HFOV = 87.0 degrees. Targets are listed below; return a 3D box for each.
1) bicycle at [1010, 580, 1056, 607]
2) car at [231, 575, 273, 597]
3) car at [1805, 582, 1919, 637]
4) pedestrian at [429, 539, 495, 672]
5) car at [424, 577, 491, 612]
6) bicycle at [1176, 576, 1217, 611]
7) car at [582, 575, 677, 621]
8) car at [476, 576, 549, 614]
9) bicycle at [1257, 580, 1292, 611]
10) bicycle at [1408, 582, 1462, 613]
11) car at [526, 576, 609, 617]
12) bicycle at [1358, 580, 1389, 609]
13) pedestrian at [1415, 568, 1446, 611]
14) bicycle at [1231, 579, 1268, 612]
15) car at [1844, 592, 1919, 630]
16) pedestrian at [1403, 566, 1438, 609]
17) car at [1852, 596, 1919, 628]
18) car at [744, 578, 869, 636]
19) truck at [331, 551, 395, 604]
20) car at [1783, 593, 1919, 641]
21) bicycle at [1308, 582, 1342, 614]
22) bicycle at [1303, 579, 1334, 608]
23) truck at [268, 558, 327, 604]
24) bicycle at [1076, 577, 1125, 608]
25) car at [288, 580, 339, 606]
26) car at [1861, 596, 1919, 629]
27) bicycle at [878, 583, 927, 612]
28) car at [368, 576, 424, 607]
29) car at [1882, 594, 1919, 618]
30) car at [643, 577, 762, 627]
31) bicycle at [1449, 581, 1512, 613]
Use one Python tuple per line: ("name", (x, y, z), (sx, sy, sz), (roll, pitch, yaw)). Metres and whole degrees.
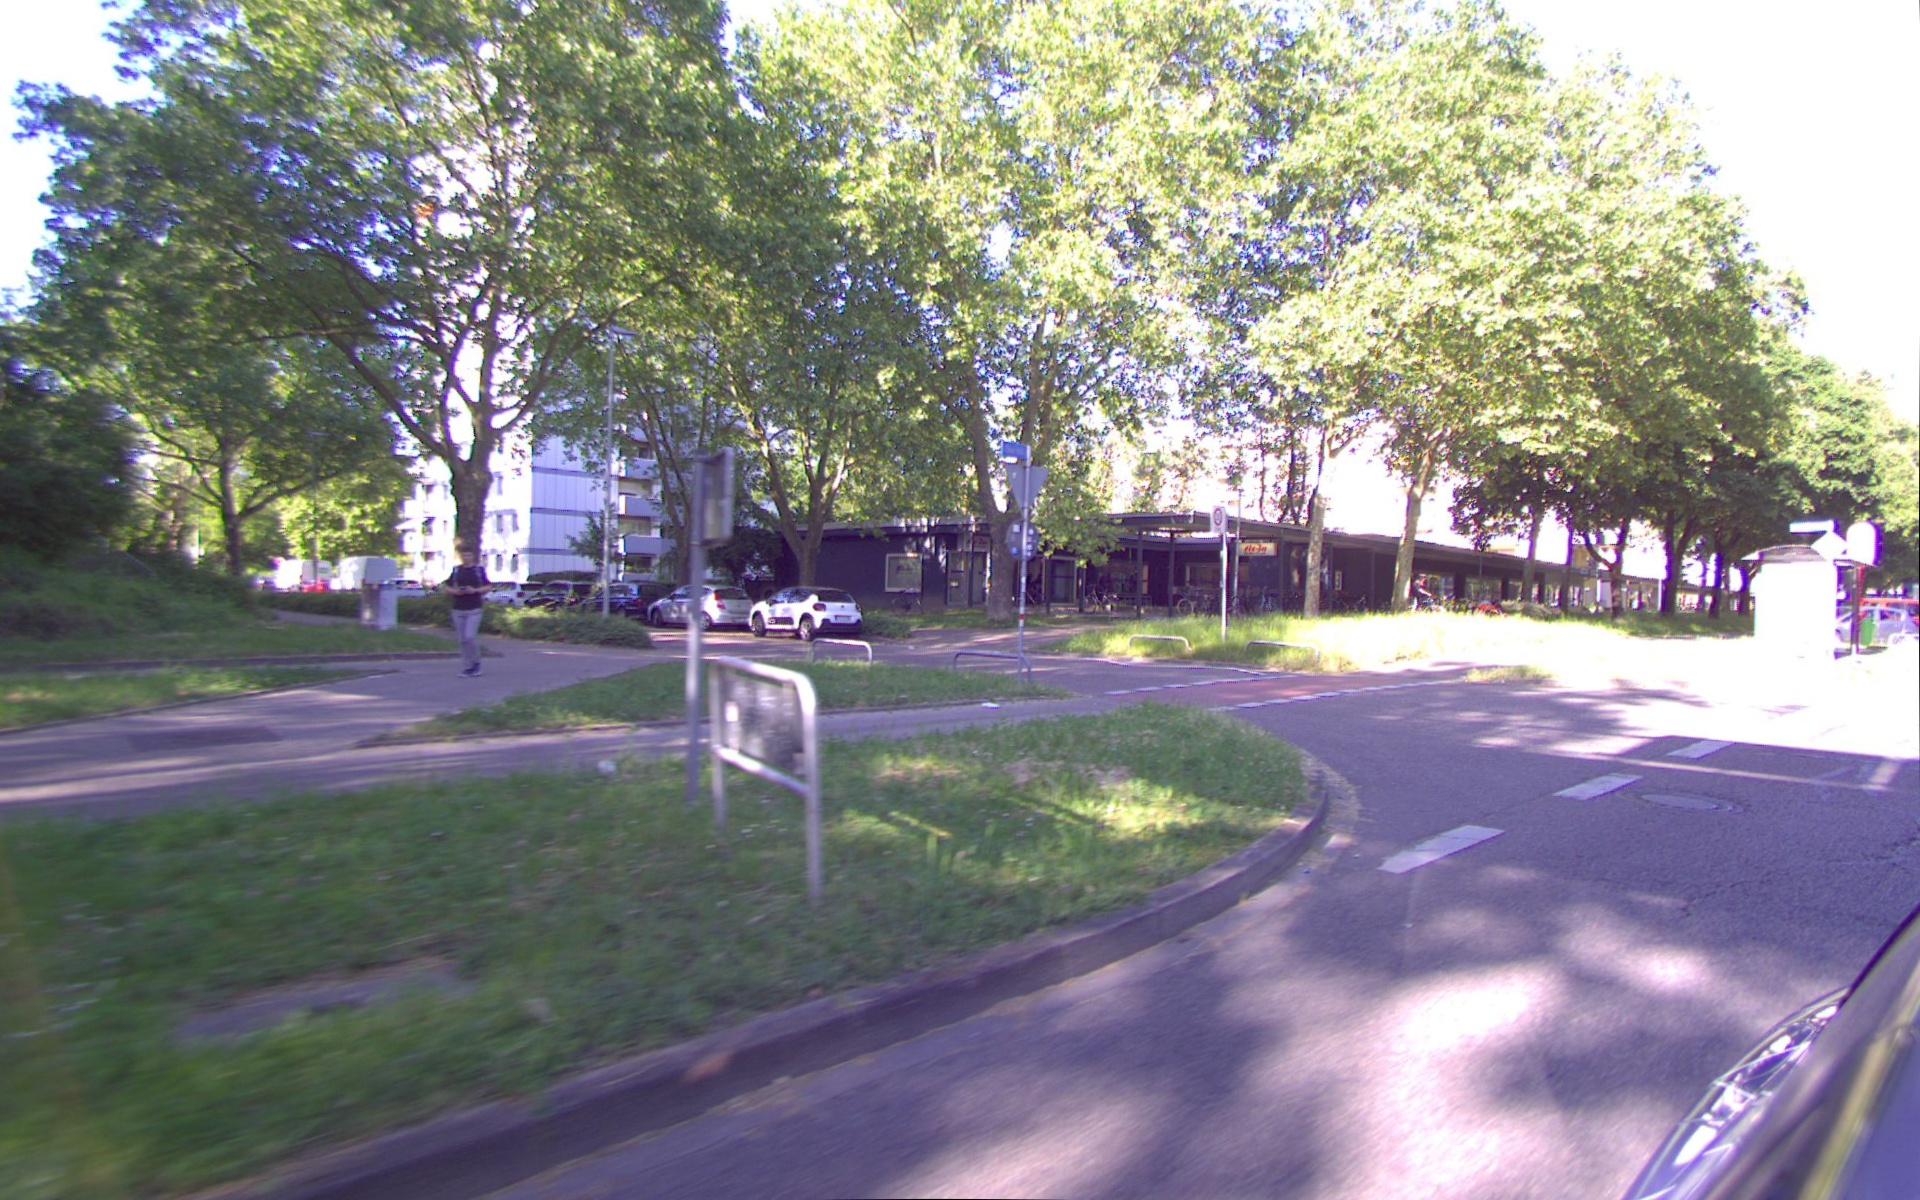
("bicycle", (2.990, -0.275, 41.359), (1.800, 0.966, 0.700), (5, 3, 42))
("car", (-52.876, -1.059, 75.553), (3.574, 1.515, 1.644), (1, -2, 40))
("car", (34.377, 0.361, 37.852), (3.880, 1.865, 1.768), (2, 2, 4))
("pedestrian", (-6.947, 0.081, 14.136), (0.724, 1.800, 0.661), (2, -1, -23))
("car", (-23.642, -0.273, 47.563), (3.578, 1.515, 1.642), (1, -2, 43))
("bicycle", (8.820, -0.234, 37.724), (1.776, 1.269, 0.576), (0, 0, -43))
("car", (-11.722, -0.062, 35.843), (3.576, 1.515, 1.599), (1, -2, 42))
("car", (-19.223, -0.214, 43.429), (3.579, 1.515, 1.559), (1, -2, 44))
("bicycle", (13.032, -0.192, 41.970), (1.776, 1.269, 0.576), (0, 0, -43))
("bicycle", (19.392, -0.132, 41.343), (0.550, 1.172, 2.077), (1, 2, -27))
("car", (-15.444, -0.142, 39.760), (3.577, 1.515, 1.602), (1, -2, 42))
("bicycle", (18.584, -0.237, 45.474), (1.776, 1.269, 0.576), (0, 0, -43))
("pedestrian", (20.543, -0.460, 44.174), (0.963, 1.863, 0.939), (2, 1, 40))
("bicycle", (11.591, -0.177, 40.519), (1.776, 1.269, 0.576), (0, 0, -43))
("car", (43.676, 0.522, 46.986), (3.653, 1.610, 1.700), (2, 2, 1))
("pedestrian", (18.823, -0.519, 41.404), (1.126, 1.729, 0.722), (2, 1, 40))
("car", (46.424, 0.640, 49.465), (4.011, 1.420, 1.687), (2, 2, 1))
("car", (-4.407, 0.182, 28.722), (1.680, 1.515, 3.733), (3, -2, -43))
("truck", (-34.605, -1.264, 58.607), (5.170, 2.854, 1.884), (1, -2, 45))
("car", (31.430, 0.580, 35.447), (3.762, 1.490, 1.517), (2, 2, 5))
("bicycle", (15.175, -0.086, 42.040), (1.776, 1.269, 0.576), (0, 0, -43))
("bicycle", (16.045, -0.299, 45.264), (1.776, 1.269, 0.576), (0, 0, -43))
("truck", (-45.112, -1.279, 68.868), (5.161, 3.017, 1.887), (1, -2, 40))
("bicycle", (5.412, -0.318, 39.015), (1.799, 1.129, 0.700), (2, 3, 42))
("car", (-40.367, -0.434, 63.143), (3.574, 1.515, 1.644), (1, -2, 40))
("car", (51.737, 0.696, 54.714), (4.227, 1.697, 1.865), (1, 0, 5))
("bicycle", (-2.194, -0.098, 38.899), (0.504, 0.971, 2.164), (2, 5, 42))
("car", (-30.163, -0.450, 54.093), (3.579, 1.515, 1.641), (1, -2, 44))
("car", (62.911, 0.484, 65.447), (4.589, 1.443, 2.000), (2, 2, 1))
("car", (-8.378, 0.058, 32.806), (3.964, 1.515, 1.645), (1, -2, 38))
("bicycle", (20.094, -0.125, 39.092), (2.063, 1.172, 0.554), (3, 2, 39))
